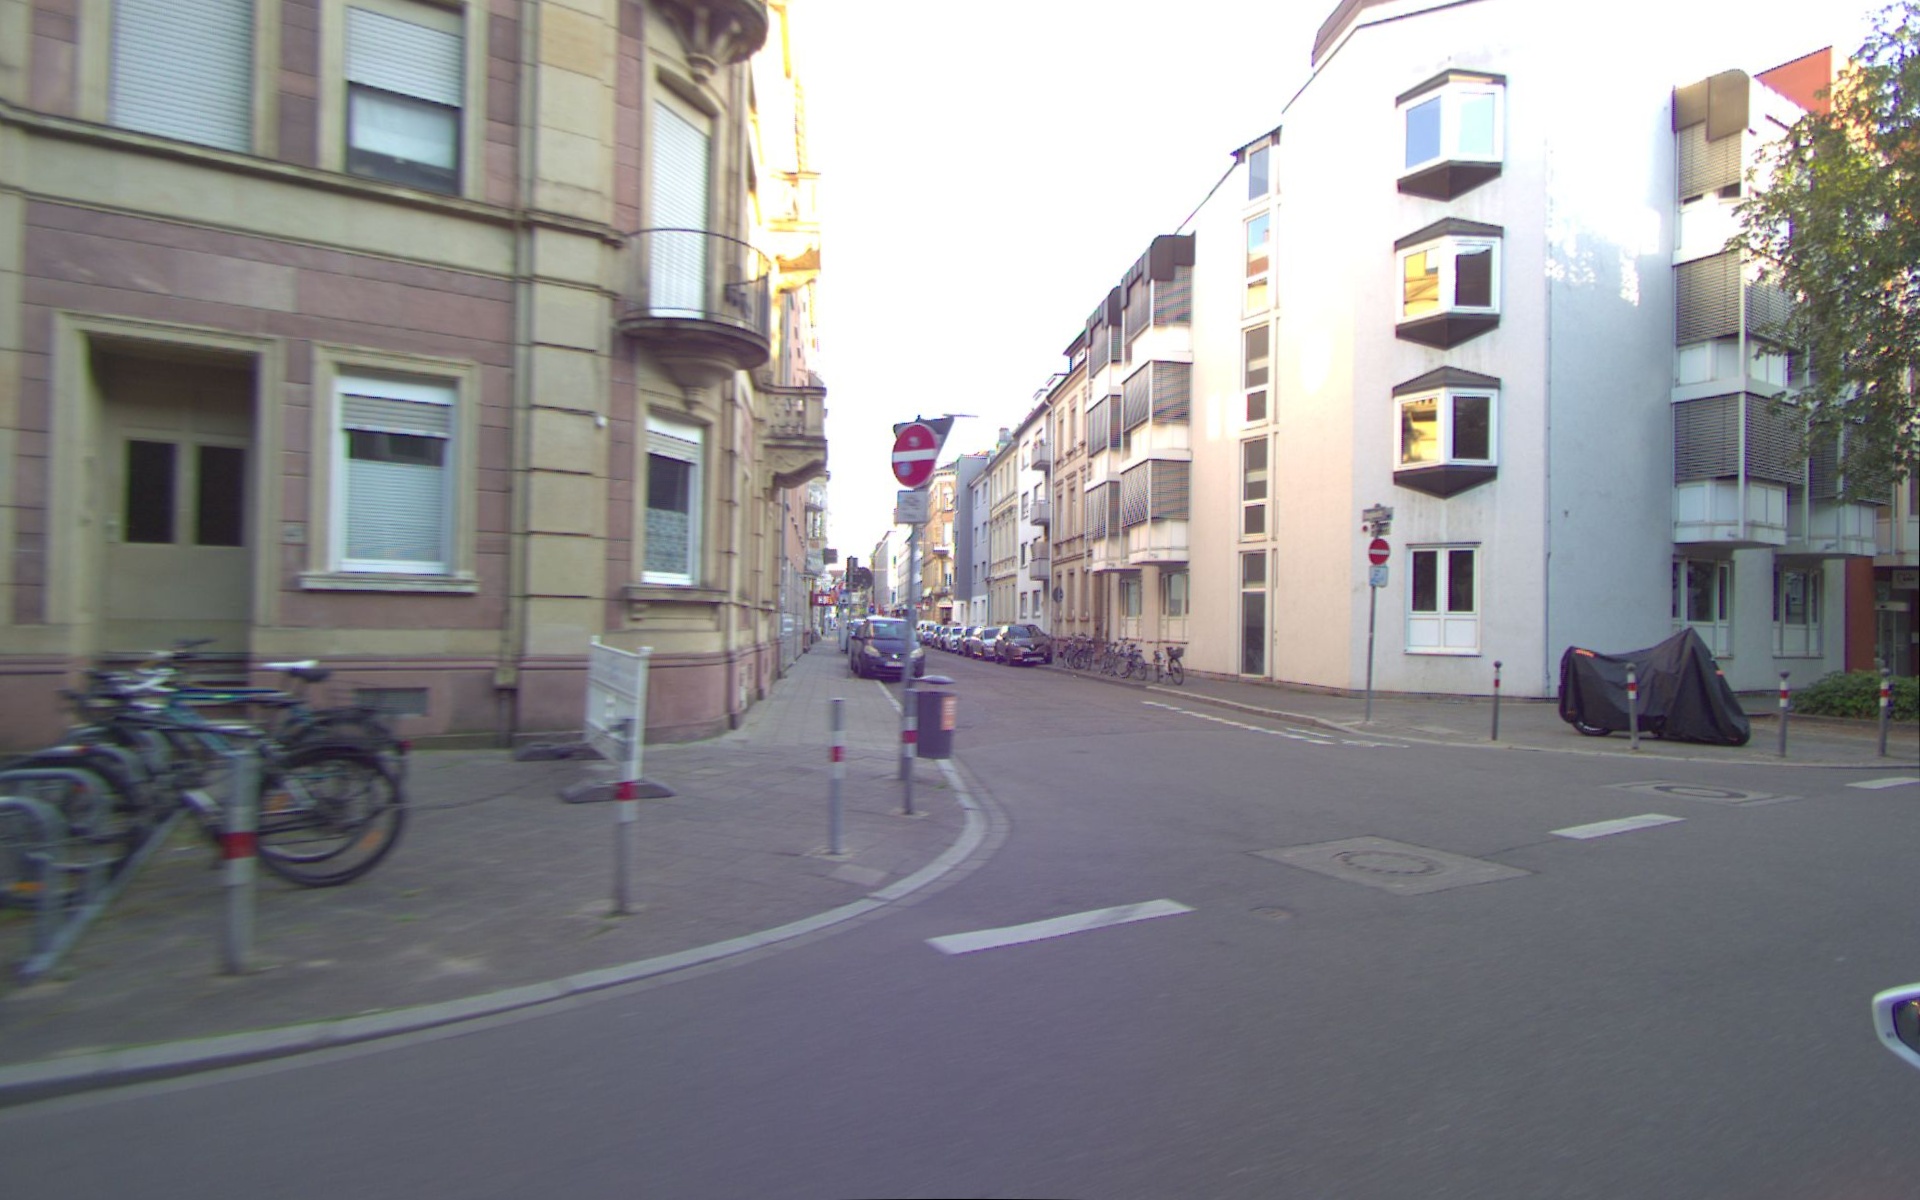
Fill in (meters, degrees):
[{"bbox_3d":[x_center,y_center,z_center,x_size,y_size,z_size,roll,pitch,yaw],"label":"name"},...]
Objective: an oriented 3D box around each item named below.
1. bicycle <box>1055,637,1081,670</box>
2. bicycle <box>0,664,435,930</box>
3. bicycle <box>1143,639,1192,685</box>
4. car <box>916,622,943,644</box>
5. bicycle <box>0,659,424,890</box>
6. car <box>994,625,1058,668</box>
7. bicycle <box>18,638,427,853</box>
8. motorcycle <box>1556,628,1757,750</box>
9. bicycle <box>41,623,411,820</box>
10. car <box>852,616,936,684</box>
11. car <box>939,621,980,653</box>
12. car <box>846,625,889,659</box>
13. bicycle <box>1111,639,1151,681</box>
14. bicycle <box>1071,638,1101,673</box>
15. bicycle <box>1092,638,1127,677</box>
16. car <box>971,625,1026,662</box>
[{"bbox_3d":[3.818,1.882,35.559,0.604,1.122,1.799,-1,-2,-3],"label":"bicycle"},{"bbox_3d":[-3.600,0.882,4.812,1.842,1.073,0.519,4,1,-33],"label":"bicycle"},{"bbox_3d":[5.352,1.592,25.972,0.573,1.122,1.797,0,-2,-11],"label":"bicycle"},{"bbox_3d":[-2.538,2.657,81.785,1.788,1.705,4.141,2,-1,-7],"label":"car"},{"bbox_3d":[-3.921,0.878,5.332,1.840,1.032,0.520,4,1,-30],"label":"bicycle"},{"bbox_3d":[2.575,1.808,40.078,1.767,1.559,4.141,2,-1,-7],"label":"car"},{"bbox_3d":[-4.255,0.822,5.995,1.840,1.077,0.665,4,1,-30],"label":"bicycle"},{"bbox_3d":[9.539,1.161,13.820,2.184,1.501,0.854,0,0,43],"label":"motorcycle"},{"bbox_3d":[-4.654,0.765,6.537,1.840,1.122,0.514,4,1,-30],"label":"bicycle"},{"bbox_3d":[-1.893,1.330,27.774,1.963,1.612,4.141,4,-2,-7],"label":"car"},{"bbox_3d":[-0.053,2.121,58.157,1.802,1.705,3.977,2,-1,-7],"label":"car"},{"bbox_3d":[-4.446,1.971,47.853,1.865,1.435,3.685,4,-2,-7],"label":"car"},{"bbox_3d":[4.765,1.660,28.044,0.491,1.122,1.797,0,-2,-11],"label":"bicycle"},{"bbox_3d":[4.155,1.809,33.144,0.574,1.122,1.799,-1,-2,-6],"label":"bicycle"},{"bbox_3d":[4.562,1.731,30.704,0.628,1.122,1.799,-1,-2,-6],"label":"bicycle"},{"bbox_3d":[1.709,1.956,45.728,1.790,1.532,4.141,2,-1,-7],"label":"car"}]
